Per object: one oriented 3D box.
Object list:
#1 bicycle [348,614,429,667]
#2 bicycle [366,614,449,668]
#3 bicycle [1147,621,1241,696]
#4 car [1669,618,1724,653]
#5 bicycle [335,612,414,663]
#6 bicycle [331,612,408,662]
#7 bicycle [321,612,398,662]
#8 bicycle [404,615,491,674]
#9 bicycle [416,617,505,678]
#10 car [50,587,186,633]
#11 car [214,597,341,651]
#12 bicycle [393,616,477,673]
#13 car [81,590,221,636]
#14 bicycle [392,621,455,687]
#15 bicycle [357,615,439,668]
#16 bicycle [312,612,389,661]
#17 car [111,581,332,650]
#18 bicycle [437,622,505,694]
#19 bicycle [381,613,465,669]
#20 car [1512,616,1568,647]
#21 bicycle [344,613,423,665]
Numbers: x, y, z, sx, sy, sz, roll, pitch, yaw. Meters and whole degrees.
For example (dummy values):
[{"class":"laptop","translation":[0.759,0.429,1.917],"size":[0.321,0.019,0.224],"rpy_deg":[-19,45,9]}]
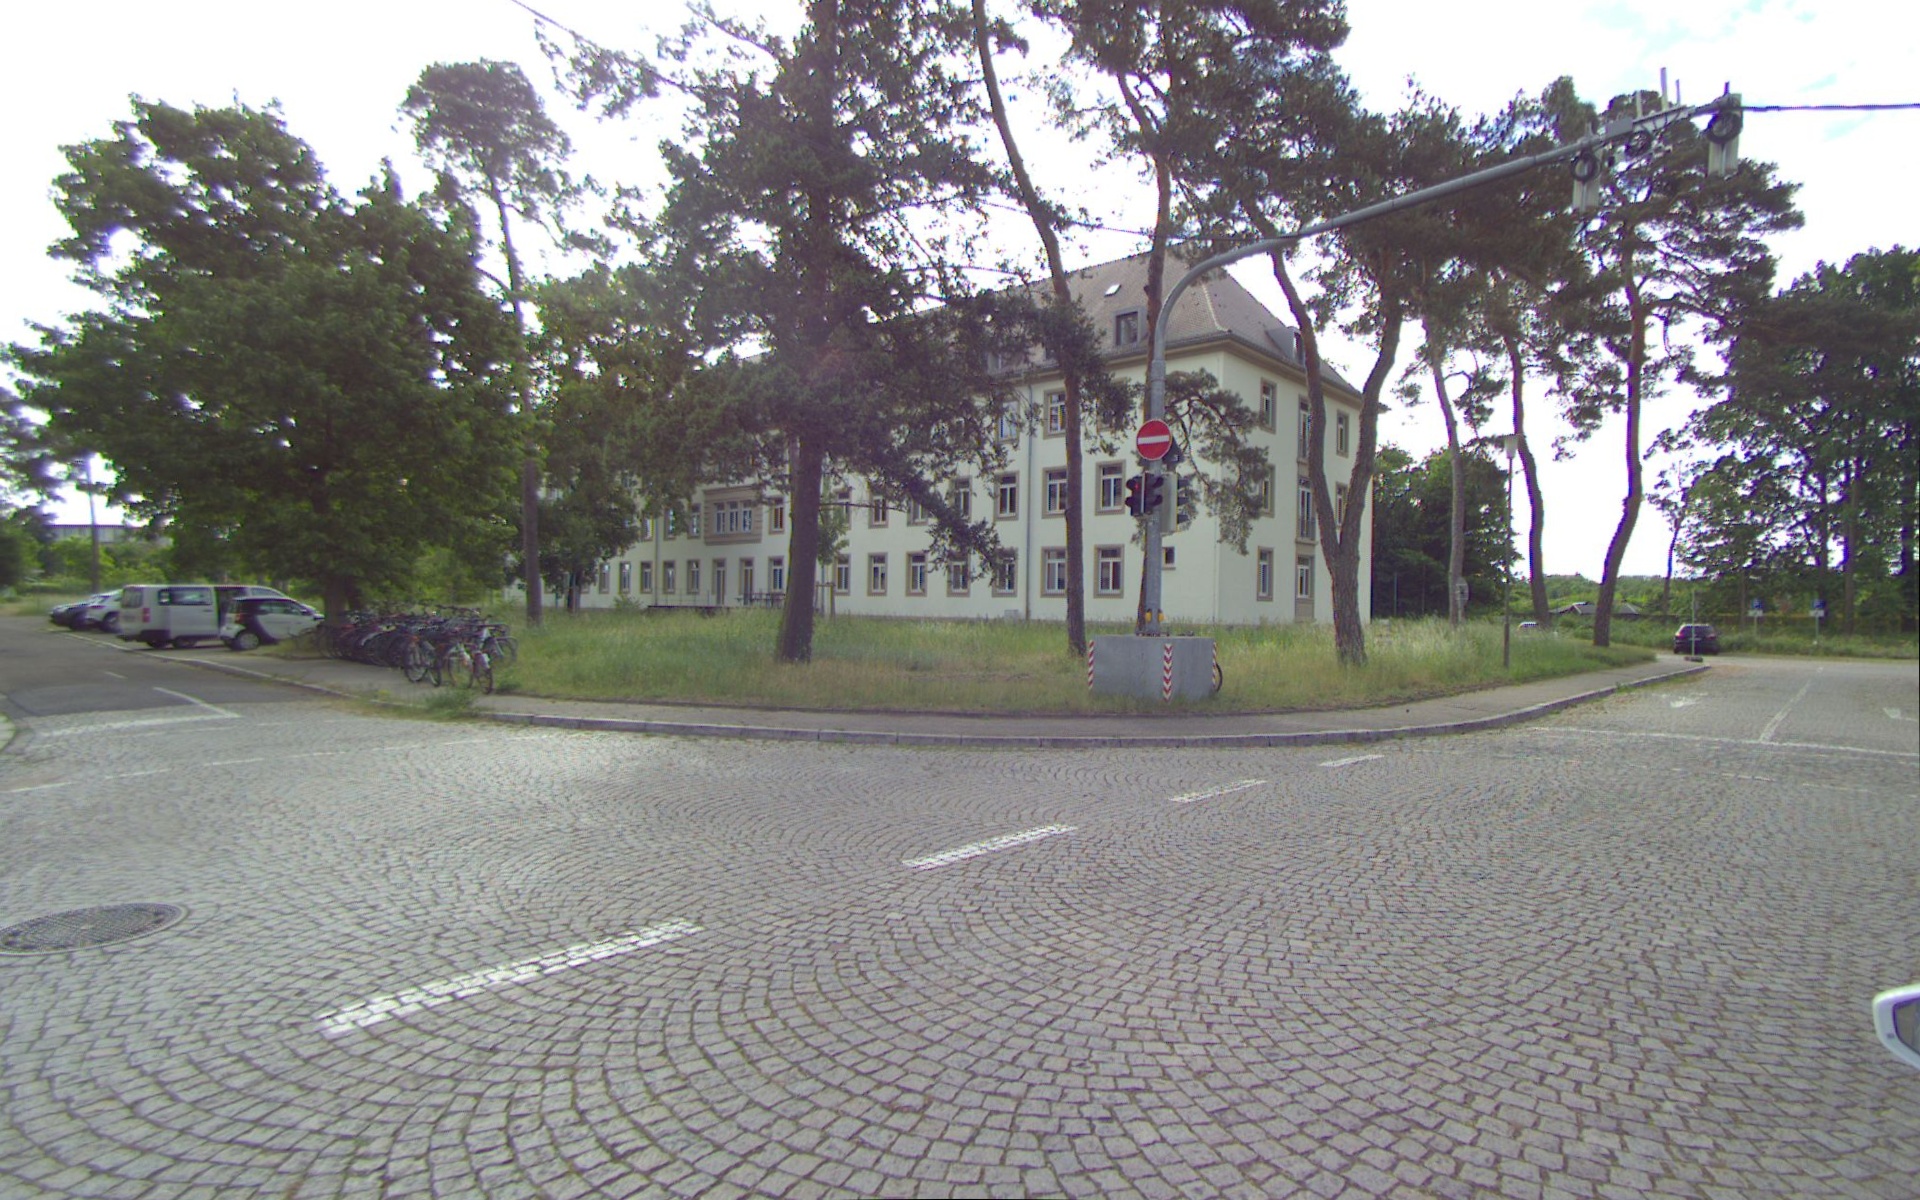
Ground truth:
[{"class":"bicycle","translation":[-12.527,0.862,22.041],"size":[0.490,1.053,1.451],"rpy_deg":[1,3,37]},{"class":"bicycle","translation":[-11.780,0.856,21.457],"size":[0.490,1.053,1.451],"rpy_deg":[1,3,37]},{"class":"bicycle","translation":[3.710,0.913,15.994],"size":[1.395,1.089,0.495],"rpy_deg":[1,3,40]},{"class":"car","translation":[37.917,1.783,51.666],"size":[1.693,1.632,4.033],"rpy_deg":[3,1,44]},{"class":"bicycle","translation":[-13.300,0.844,22.836],"size":[0.490,1.053,1.451],"rpy_deg":[1,3,37]},{"class":"bicycle","translation":[-13.644,0.842,23.233],"size":[0.490,1.053,1.451],"rpy_deg":[1,3,37]},{"class":"bicycle","translation":[-14.054,0.849,23.544],"size":[0.490,1.053,1.451],"rpy_deg":[1,3,37]},{"class":"bicycle","translation":[-10.123,0.860,19.893],"size":[0.490,1.053,1.451],"rpy_deg":[1,3,37]},{"class":"bicycle","translation":[-9.586,0.888,19.318],"size":[0.489,1.053,1.452],"rpy_deg":[1,3,34]},{"class":"car","translation":[-35.624,0.437,42.590],"size":[1.800,1.790,4.081],"rpy_deg":[3,1,34]},{"class":"car","translation":[-20.015,0.669,29.496],"size":[1.569,1.435,2.759],"rpy_deg":[1,2,41]},{"class":"bicycle","translation":[-10.789,0.893,20.679],"size":[0.490,1.053,1.451],"rpy_deg":[1,3,37]},{"class":"car","translation":[-32.887,0.527,40.929],"size":[1.828,1.743,4.081],"rpy_deg":[3,1,34]},{"class":"bicycle","translation":[-9.363,0.917,17.506],"size":[1.396,1.053,0.495],"rpy_deg":[1,3,42]},{"class":"bicycle","translation":[-12.142,0.880,21.745],"size":[0.490,1.053,1.451],"rpy_deg":[1,3,37]},{"class":"bicycle","translation":[-14.435,0.848,23.820],"size":[0.490,1.053,1.451],"rpy_deg":[1,3,37]},{"class":"car","translation":[-22.813,0.402,31.298],"size":[1.999,1.943,5.162],"rpy_deg":[0,1,29]},{"class":"bicycle","translation":[-8.075,0.937,16.575],"size":[1.396,1.089,0.495],"rpy_deg":[1,3,42]},{"class":"bicycle","translation":[-11.233,0.838,21.046],"size":[0.490,1.053,1.451],"rpy_deg":[1,3,37]},{"class":"car","translation":[33.016,1.755,57.135],"size":[4.030,1.632,1.694],"rpy_deg":[1,1,-44]},{"class":"bicycle","translation":[-12.917,0.856,22.540],"size":[0.490,1.053,1.451],"rpy_deg":[1,3,37]}]
